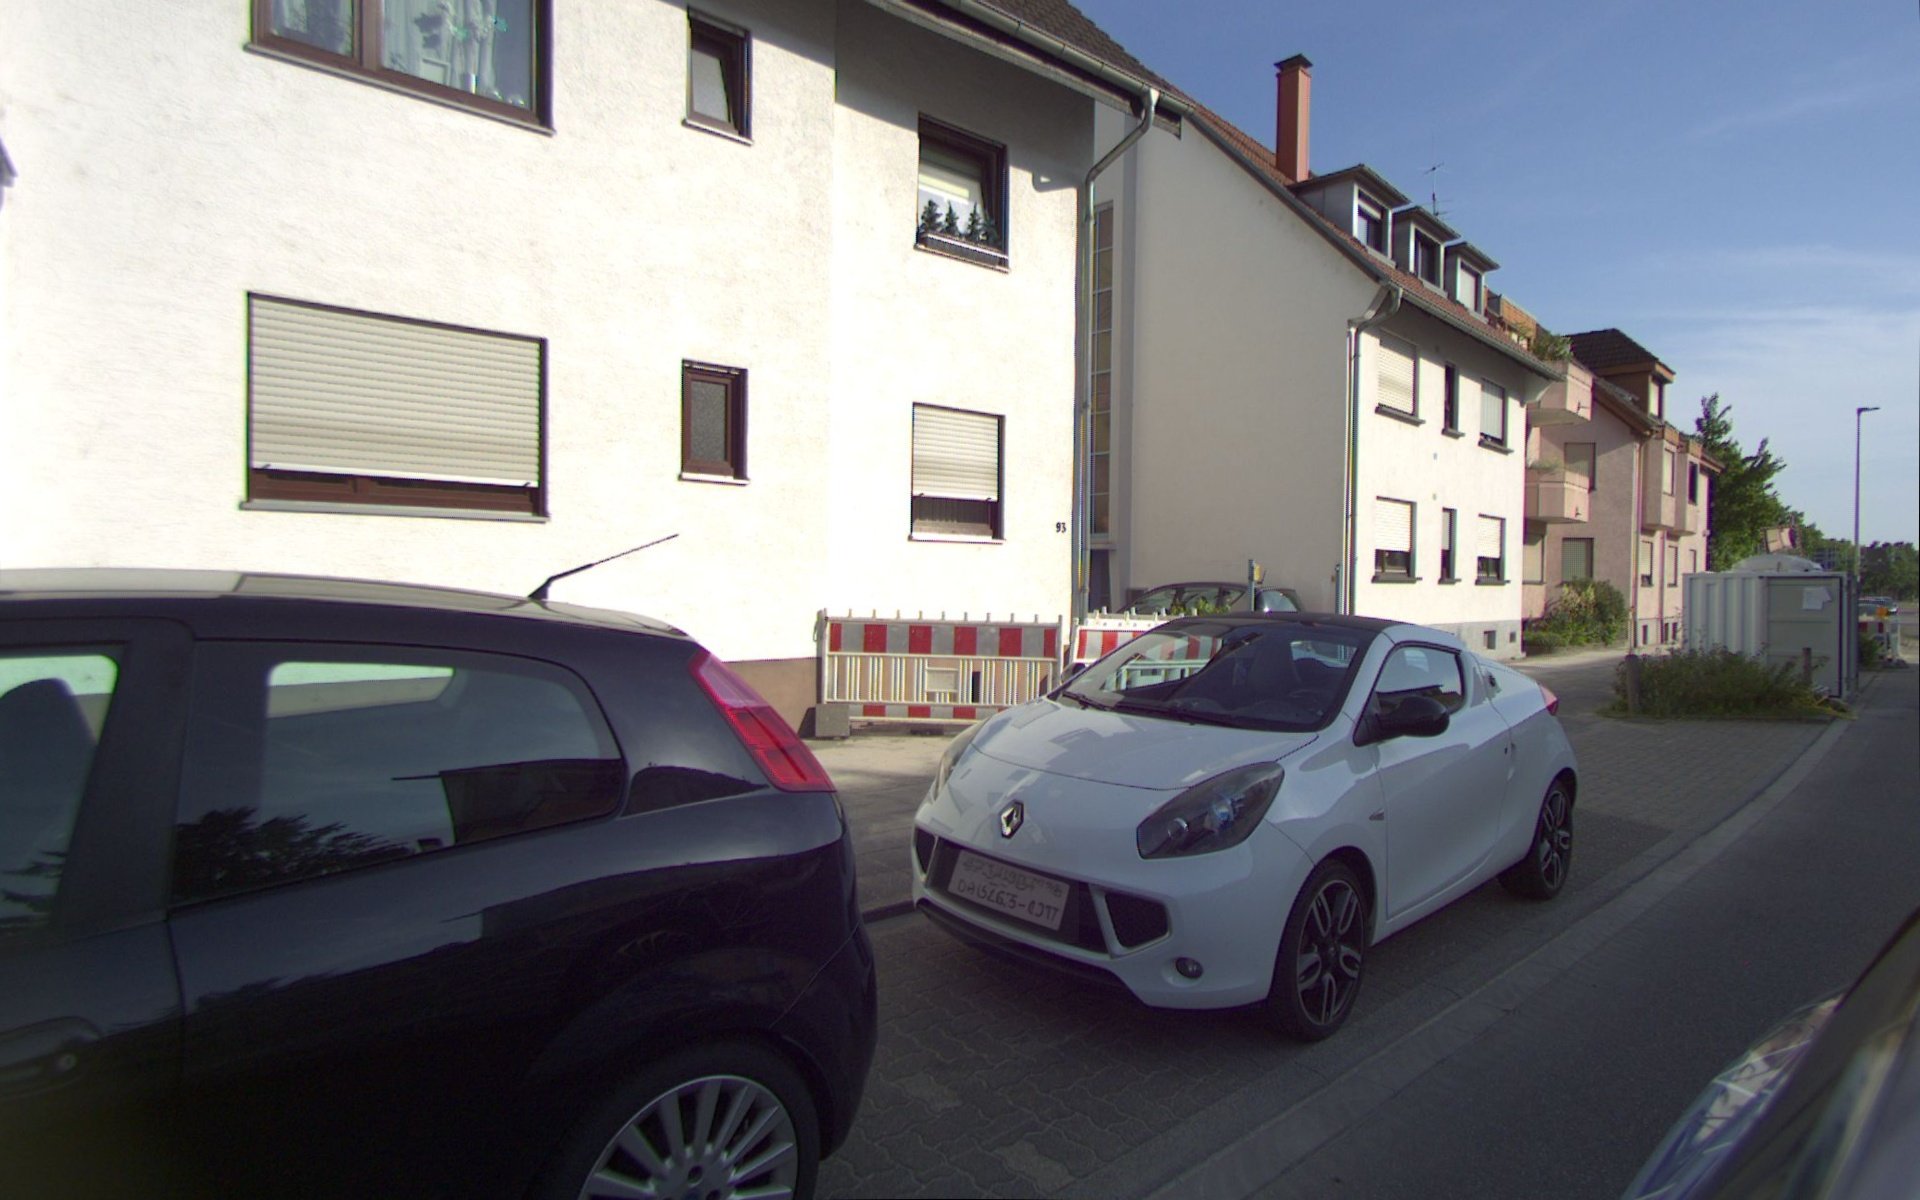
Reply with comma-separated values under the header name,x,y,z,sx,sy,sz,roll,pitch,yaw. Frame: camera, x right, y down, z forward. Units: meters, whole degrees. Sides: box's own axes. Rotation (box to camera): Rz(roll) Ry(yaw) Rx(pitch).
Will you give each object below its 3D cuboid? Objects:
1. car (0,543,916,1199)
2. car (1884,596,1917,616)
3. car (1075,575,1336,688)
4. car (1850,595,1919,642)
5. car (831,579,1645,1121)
name,x,y,z,sx,sy,sz,roll,pitch,yaw
car,-2.106,0.622,1.600,3.849,1.438,1.612,0,3,-39
car,77.459,0.498,83.369,3.935,1.459,1.792,0,3,-45
car,3.825,0.412,16.199,1.764,1.586,3.746,0,1,-42
car,30.712,0.584,33.603,1.629,1.460,3.360,0,0,40
car,1.640,0.653,4.807,4.260,1.415,1.717,0,3,-43
